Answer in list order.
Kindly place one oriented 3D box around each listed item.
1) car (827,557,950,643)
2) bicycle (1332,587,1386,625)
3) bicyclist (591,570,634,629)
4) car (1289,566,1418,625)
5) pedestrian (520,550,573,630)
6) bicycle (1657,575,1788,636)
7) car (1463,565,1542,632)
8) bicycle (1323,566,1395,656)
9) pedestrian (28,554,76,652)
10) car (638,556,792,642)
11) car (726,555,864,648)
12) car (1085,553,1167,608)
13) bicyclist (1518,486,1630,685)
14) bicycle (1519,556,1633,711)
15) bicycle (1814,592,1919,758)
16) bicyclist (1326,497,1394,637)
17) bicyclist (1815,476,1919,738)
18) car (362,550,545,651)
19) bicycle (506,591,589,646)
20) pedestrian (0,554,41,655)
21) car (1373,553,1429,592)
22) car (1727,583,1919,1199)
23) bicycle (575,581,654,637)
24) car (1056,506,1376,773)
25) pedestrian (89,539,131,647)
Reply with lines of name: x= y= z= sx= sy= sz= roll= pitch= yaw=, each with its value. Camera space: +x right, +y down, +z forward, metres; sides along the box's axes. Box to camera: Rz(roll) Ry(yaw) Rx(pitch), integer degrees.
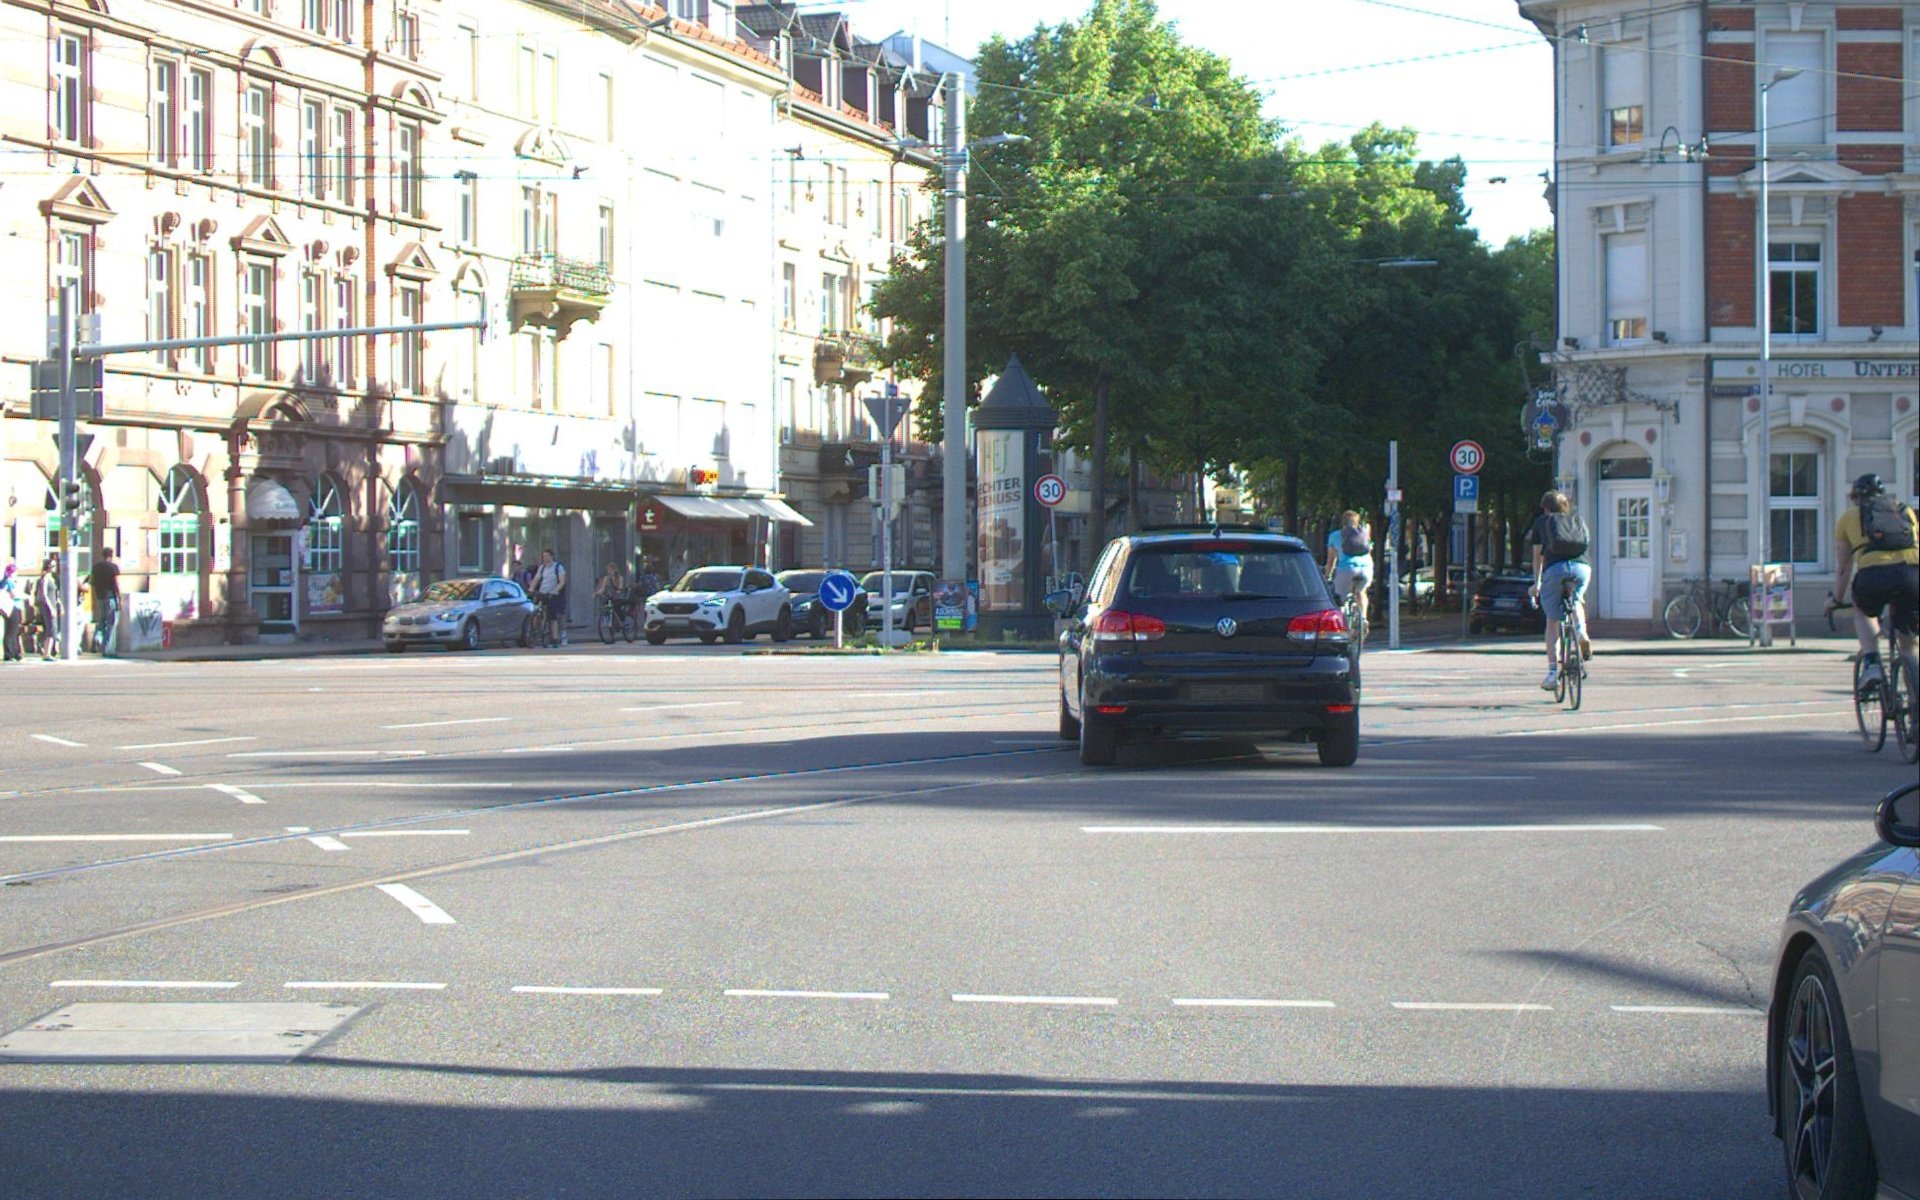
car: x=-1.631 y=-0.018 z=79.805 sx=1.994 sy=1.897 sz=3.998 roll=1 pitch=1 yaw=11
bicycle: x=11.499 y=0.167 z=99.078 sx=0.626 sy=1.081 sz=1.703 roll=1 pitch=1 yaw=-31
bicyclist: x=-7.105 y=-0.011 z=70.294 sx=0.632 sy=1.181 sz=0.684 roll=1 pitch=0 yaw=21
car: x=13.155 y=-0.165 z=114.981 sx=3.990 sy=1.897 sz=1.998 roll=1 pitch=0 yaw=16
pedestrian: x=-7.836 y=-0.189 z=65.215 sx=0.821 sy=1.507 sz=0.598 roll=1 pitch=0 yaw=15
bicycle: x=12.664 y=0.089 z=57.114 sx=2.049 sy=0.994 sz=0.630 roll=0 pitch=0 yaw=3
car: x=13.061 y=-0.048 z=82.599 sx=1.692 sy=1.559 sz=3.839 roll=1 pitch=1 yaw=11
bicycle: x=4.710 y=0.120 z=40.541 sx=0.650 sy=1.028 sz=1.770 roll=1 pitch=1 yaw=13
pedestrian: x=-15.117 y=0.045 z=57.263 sx=0.633 sy=1.628 sz=0.701 roll=1 pitch=0 yaw=-4
car: x=-4.766 y=-0.036 z=67.398 sx=1.994 sy=1.612 sz=3.998 roll=1 pitch=1 yaw=11
car: x=-3.497 y=0.019 z=73.584 sx=1.994 sy=1.897 sz=3.998 roll=1 pitch=1 yaw=11
car: x=5.956 y=-0.687 z=122.690 sx=1.995 sy=1.897 sz=3.997 roll=1 pitch=1 yaw=17
bicyclist: x=5.057 y=-0.124 z=28.355 sx=0.806 sy=1.601 sz=0.883 roll=1 pitch=0 yaw=5
bicycle: x=5.086 y=0.258 z=28.468 sx=0.755 sy=1.232 sz=1.702 roll=1 pitch=1 yaw=5
bicycle: x=6.026 y=0.469 z=22.451 sx=0.755 sy=1.027 sz=1.779 roll=1 pitch=1 yaw=17
bicyclist: x=4.733 y=-0.387 z=40.611 sx=0.690 sy=1.627 sz=0.883 roll=1 pitch=0 yaw=13
bicyclist: x=5.984 y=0.040 z=22.236 sx=0.806 sy=1.657 sz=0.883 roll=1 pitch=0 yaw=17
car: x=-9.843 y=-0.005 z=67.122 sx=1.995 sy=1.897 sz=3.997 roll=1 pitch=1 yaw=17
bicycle: x=-7.822 y=0.338 z=65.295 sx=0.763 sy=1.004 sz=2.395 roll=1 pitch=1 yaw=13
pedestrian: x=-15.339 y=0.074 z=55.913 sx=0.633 sy=1.628 sz=0.701 roll=1 pitch=0 yaw=-4
car: x=17.315 y=-1.071 z=134.848 sx=1.560 sy=1.508 sz=3.653 roll=1 pitch=1 yaw=17
car: x=2.743 y=0.703 z=5.801 sx=1.907 sy=1.415 sz=4.493 roll=1 pitch=1 yaw=0
bicycle: x=-7.060 y=0.181 z=70.413 sx=0.651 sy=1.119 sz=2.250 roll=1 pitch=1 yaw=21
car: x=1.579 y=0.179 z=22.502 sx=1.728 sy=1.502 sz=4.051 roll=1 pitch=2 yaw=-1
pedestrian: x=-14.876 y=-0.131 z=60.173 sx=0.464 sy=1.875 sz=0.635 roll=1 pitch=0 yaw=10
